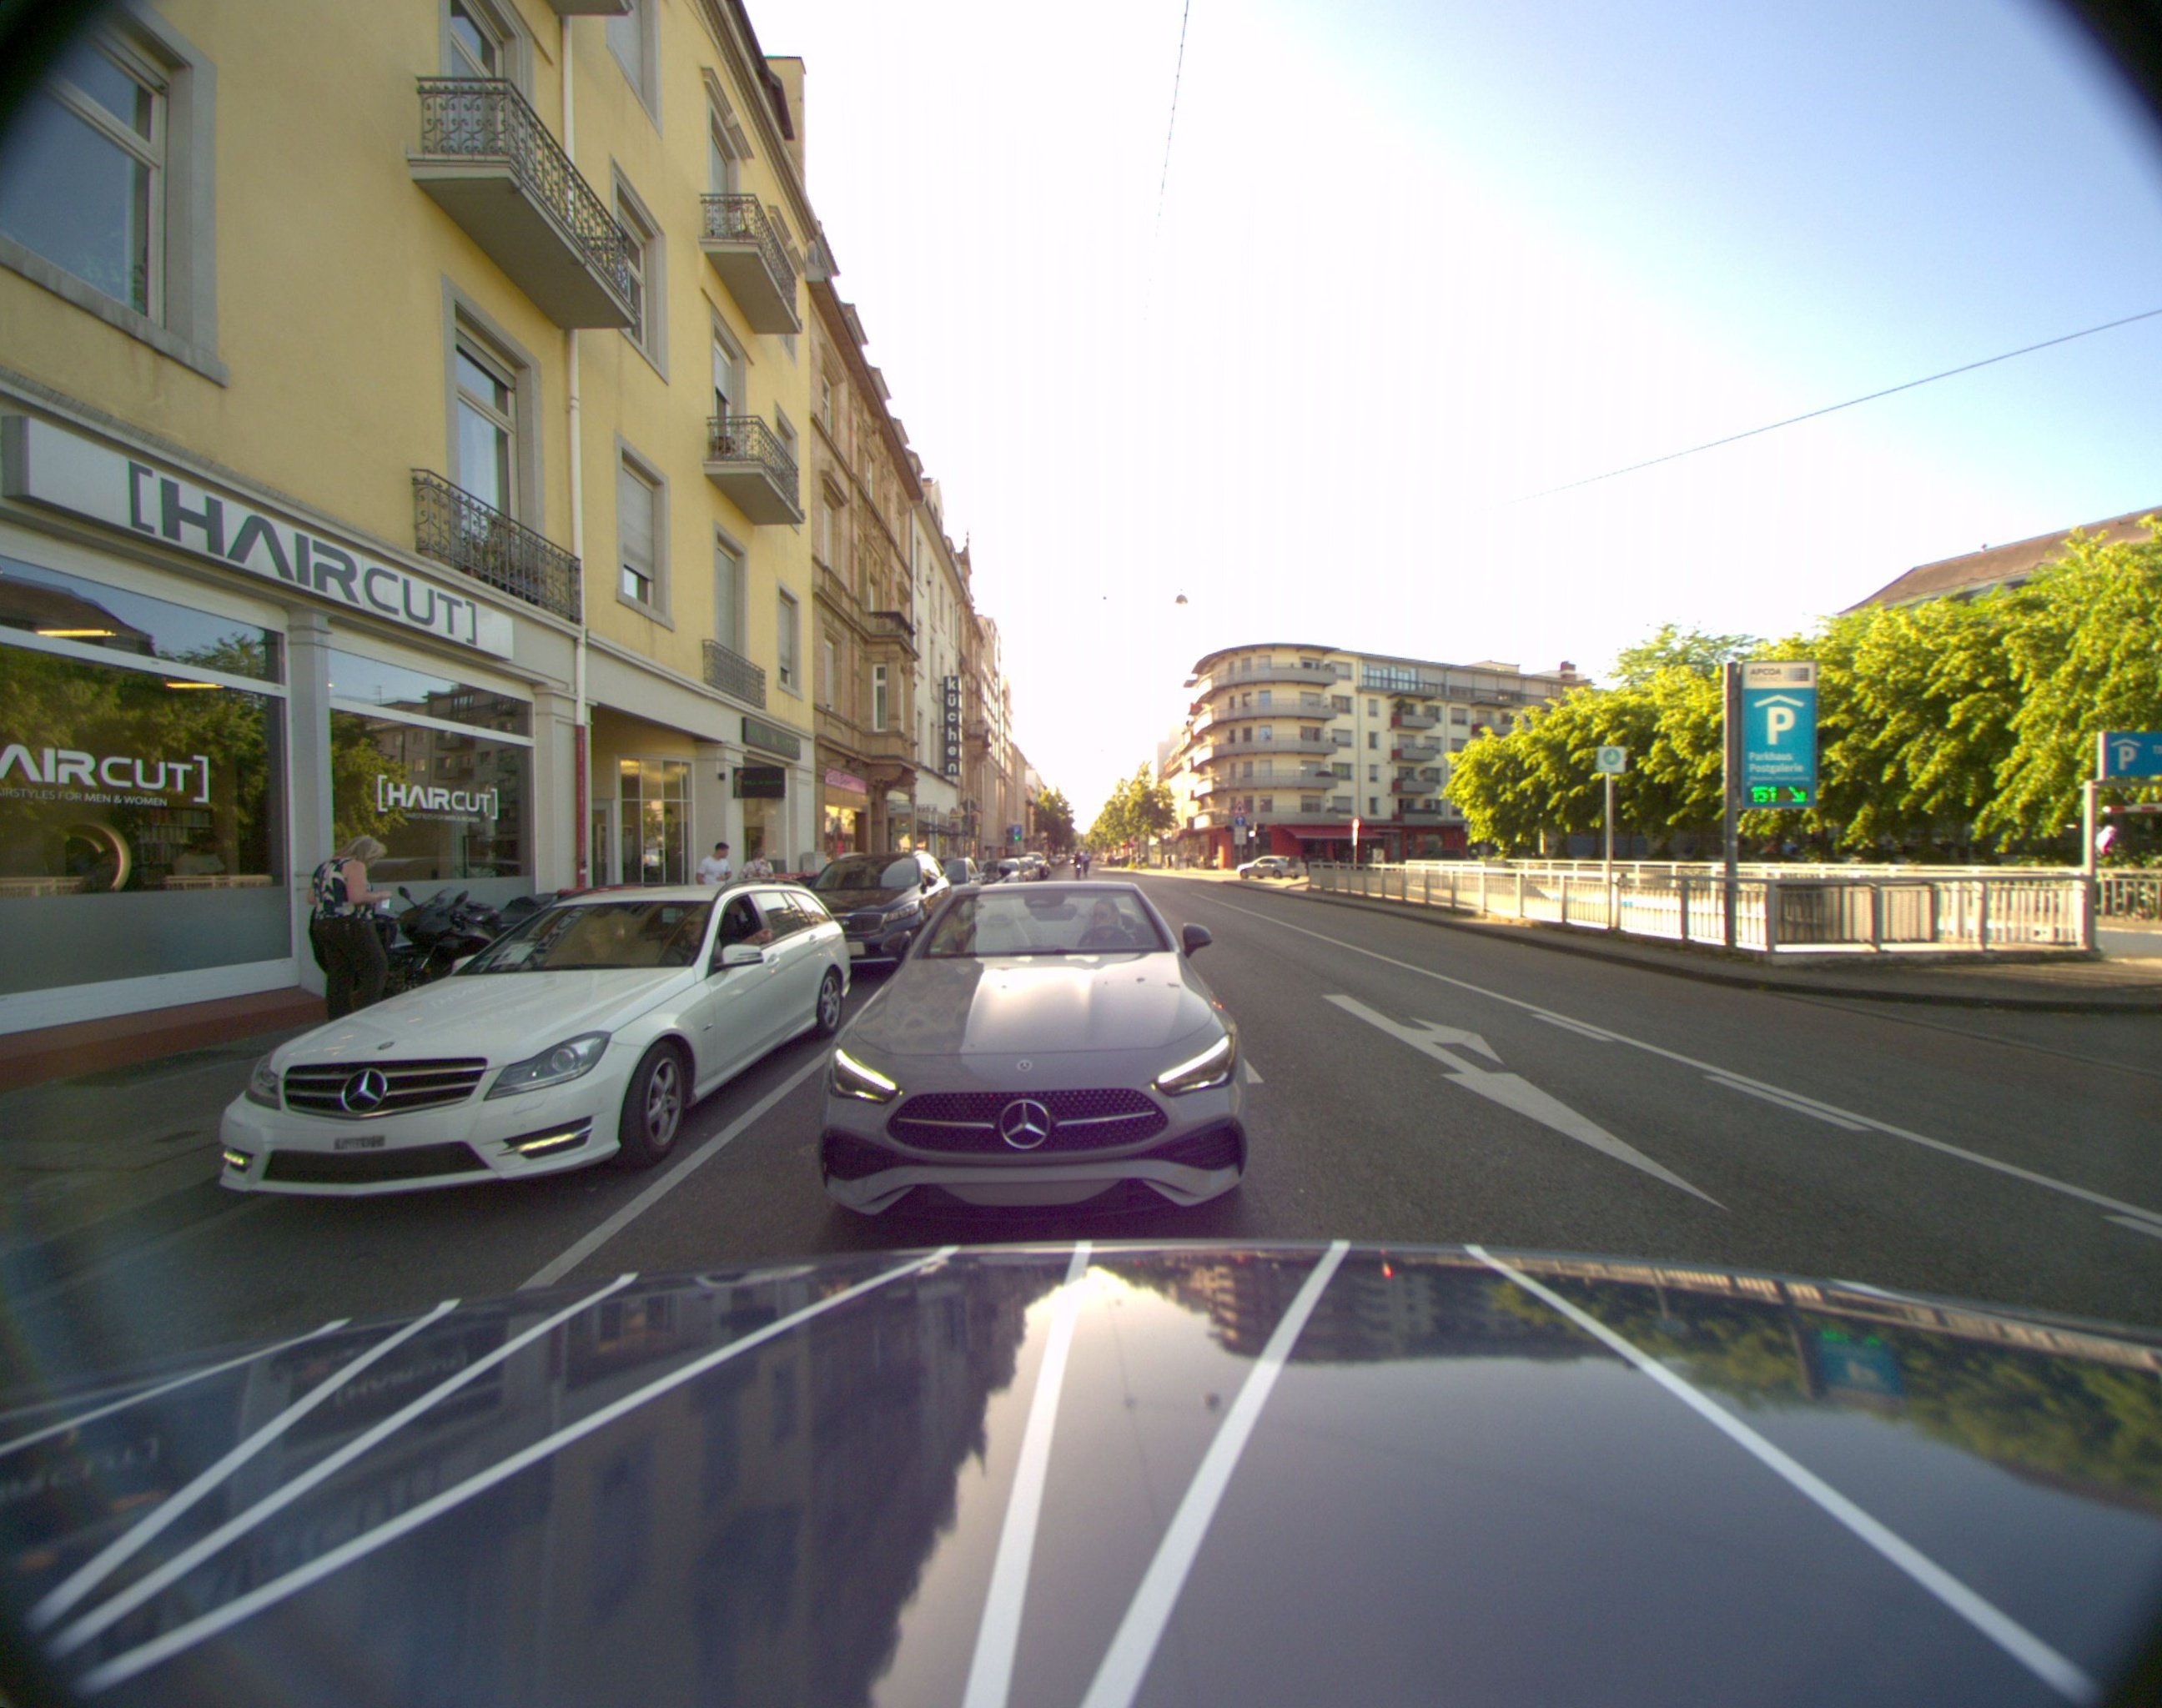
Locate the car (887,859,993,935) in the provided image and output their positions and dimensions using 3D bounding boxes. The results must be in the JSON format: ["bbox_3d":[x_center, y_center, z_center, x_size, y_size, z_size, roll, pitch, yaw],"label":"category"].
[{"bbox_3d":[-3.294,0.941,18.539,1.802,1.518,4.085,-2,1,-1],"label":"car"}]

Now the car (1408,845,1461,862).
[{"bbox_3d":[29.051,-0.053,62.443,4.004,1.294,1.753,-2,1,-23],"label":"car"}]

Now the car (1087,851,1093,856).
[{"bbox_3d":[2.447,-0.148,205.863,1.615,1.534,3.931,-1,0,1],"label":"car"}]

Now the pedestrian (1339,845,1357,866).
[{"bbox_3d":[20.555,0.144,58.470,0.863,1.586,0.887,-3,1,-38],"label":"pedestrian"}]

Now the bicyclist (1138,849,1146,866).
[{"bbox_3d":[5.665,0.310,70.756,0.525,1.539,0.798,-2,1,-4],"label":"bicyclist"}]

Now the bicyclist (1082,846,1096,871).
[{"bbox_3d":[0.548,0.285,51.454,0.885,1.625,0.768,-2,1,0],"label":"bicyclist"}]

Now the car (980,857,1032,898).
[{"bbox_3d":[-2.958,0.884,30.701,1.660,1.423,4.085,-2,1,-1],"label":"car"}]

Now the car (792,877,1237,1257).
[{"bbox_3d":[-0.277,0.952,5.168,1.802,1.351,3.999,-2,1,0],"label":"car"}]

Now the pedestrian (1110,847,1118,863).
[{"bbox_3d":[4.210,0.086,96.901,0.860,2.002,0.889,-2,1,1],"label":"pedestrian"}]

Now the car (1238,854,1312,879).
[{"bbox_3d":[11.843,0.741,46.661,1.828,1.346,4.253,0,1,-34],"label":"car"}]

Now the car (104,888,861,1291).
[{"bbox_3d":[-3.070,1.064,5.289,1.704,1.351,4.378,-2,1,1],"label":"car"}]

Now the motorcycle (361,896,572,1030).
[{"bbox_3d":[-6.217,1.039,7.853,0.567,1.072,1.954,2,1,1],"label":"motorcycle"}]

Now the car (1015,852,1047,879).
[{"bbox_3d":[-3.091,0.693,47.793,1.725,1.506,4.004,-2,1,-1],"label":"car"}]

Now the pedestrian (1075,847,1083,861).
[{"bbox_3d":[-0.356,-0.014,123.654,1.205,2.153,1.280,-2,1,1],"label":"pedestrian"}]

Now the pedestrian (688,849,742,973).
[{"bbox_3d":[-5.988,0.904,12.455,0.373,1.971,0.695,0,1,23],"label":"pedestrian"}]

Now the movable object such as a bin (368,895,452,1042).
[{"bbox_3d":[-5.918,0.995,6.714,0.391,1.231,0.394,1,1,1],"label":"movable object such as a bin"}]

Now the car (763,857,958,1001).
[{"bbox_3d":[-3.007,0.915,11.336,1.803,1.629,4.243,-2,1,-3],"label":"car"}]

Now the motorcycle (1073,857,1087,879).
[{"bbox_3d":[-0.061,0.825,45.057,0.720,1.177,1.906,-2,1,2],"label":"motorcycle"}]

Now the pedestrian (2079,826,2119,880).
[{"bbox_3d":[33.541,-0.035,25.044,0.647,1.711,0.607,-3,1,-19],"label":"pedestrian"}]

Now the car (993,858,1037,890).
[{"bbox_3d":[-3.139,0.919,36.964,1.802,1.332,3.838,-2,1,-1],"label":"car"}]

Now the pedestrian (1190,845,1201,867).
[{"bbox_3d":[10.290,0.175,68.316,0.860,2.002,0.889,-2,1,0],"label":"pedestrian"}]

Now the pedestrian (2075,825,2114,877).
[{"bbox_3d":[34.101,-0.088,25.576,0.647,1.711,0.607,-3,1,-19],"label":"pedestrian"}]

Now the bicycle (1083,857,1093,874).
[{"bbox_3d":[0.500,0.788,51.475,0.640,1.078,2.061,-1,0,0],"label":"bicycle"}]

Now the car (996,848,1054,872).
[{"bbox_3d":[-4.005,0.407,54.946,3.997,1.543,1.857,-2,1,-1],"label":"car"}]

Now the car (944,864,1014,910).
[{"bbox_3d":[-3.324,1.032,25.472,1.802,1.259,4.085,-2,1,-1],"label":"car"}]

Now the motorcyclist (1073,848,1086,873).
[{"bbox_3d":[-0.078,0.355,45.015,0.722,1.438,0.705,-2,1,2],"label":"motorcyclist"}]

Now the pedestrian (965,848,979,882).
[{"bbox_3d":[-5.954,0.601,41.533,0.574,1.840,0.665,-2,1,1],"label":"pedestrian"}]

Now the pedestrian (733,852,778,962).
[{"bbox_3d":[-5.705,0.905,13.311,0.576,1.840,0.663,-3,1,-30],"label":"pedestrian"}]

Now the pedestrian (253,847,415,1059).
[{"bbox_3d":[-6.074,0.771,6.212,0.719,1.644,0.606,1,1,1],"label":"pedestrian"}]

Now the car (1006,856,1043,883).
[{"bbox_3d":[-3.043,0.813,41.419,1.725,1.332,3.668,-2,1,-1],"label":"car"}]

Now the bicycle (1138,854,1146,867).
[{"bbox_3d":[5.679,0.601,70.813,0.527,1.163,1.592,-2,1,-4],"label":"bicycle"}]
